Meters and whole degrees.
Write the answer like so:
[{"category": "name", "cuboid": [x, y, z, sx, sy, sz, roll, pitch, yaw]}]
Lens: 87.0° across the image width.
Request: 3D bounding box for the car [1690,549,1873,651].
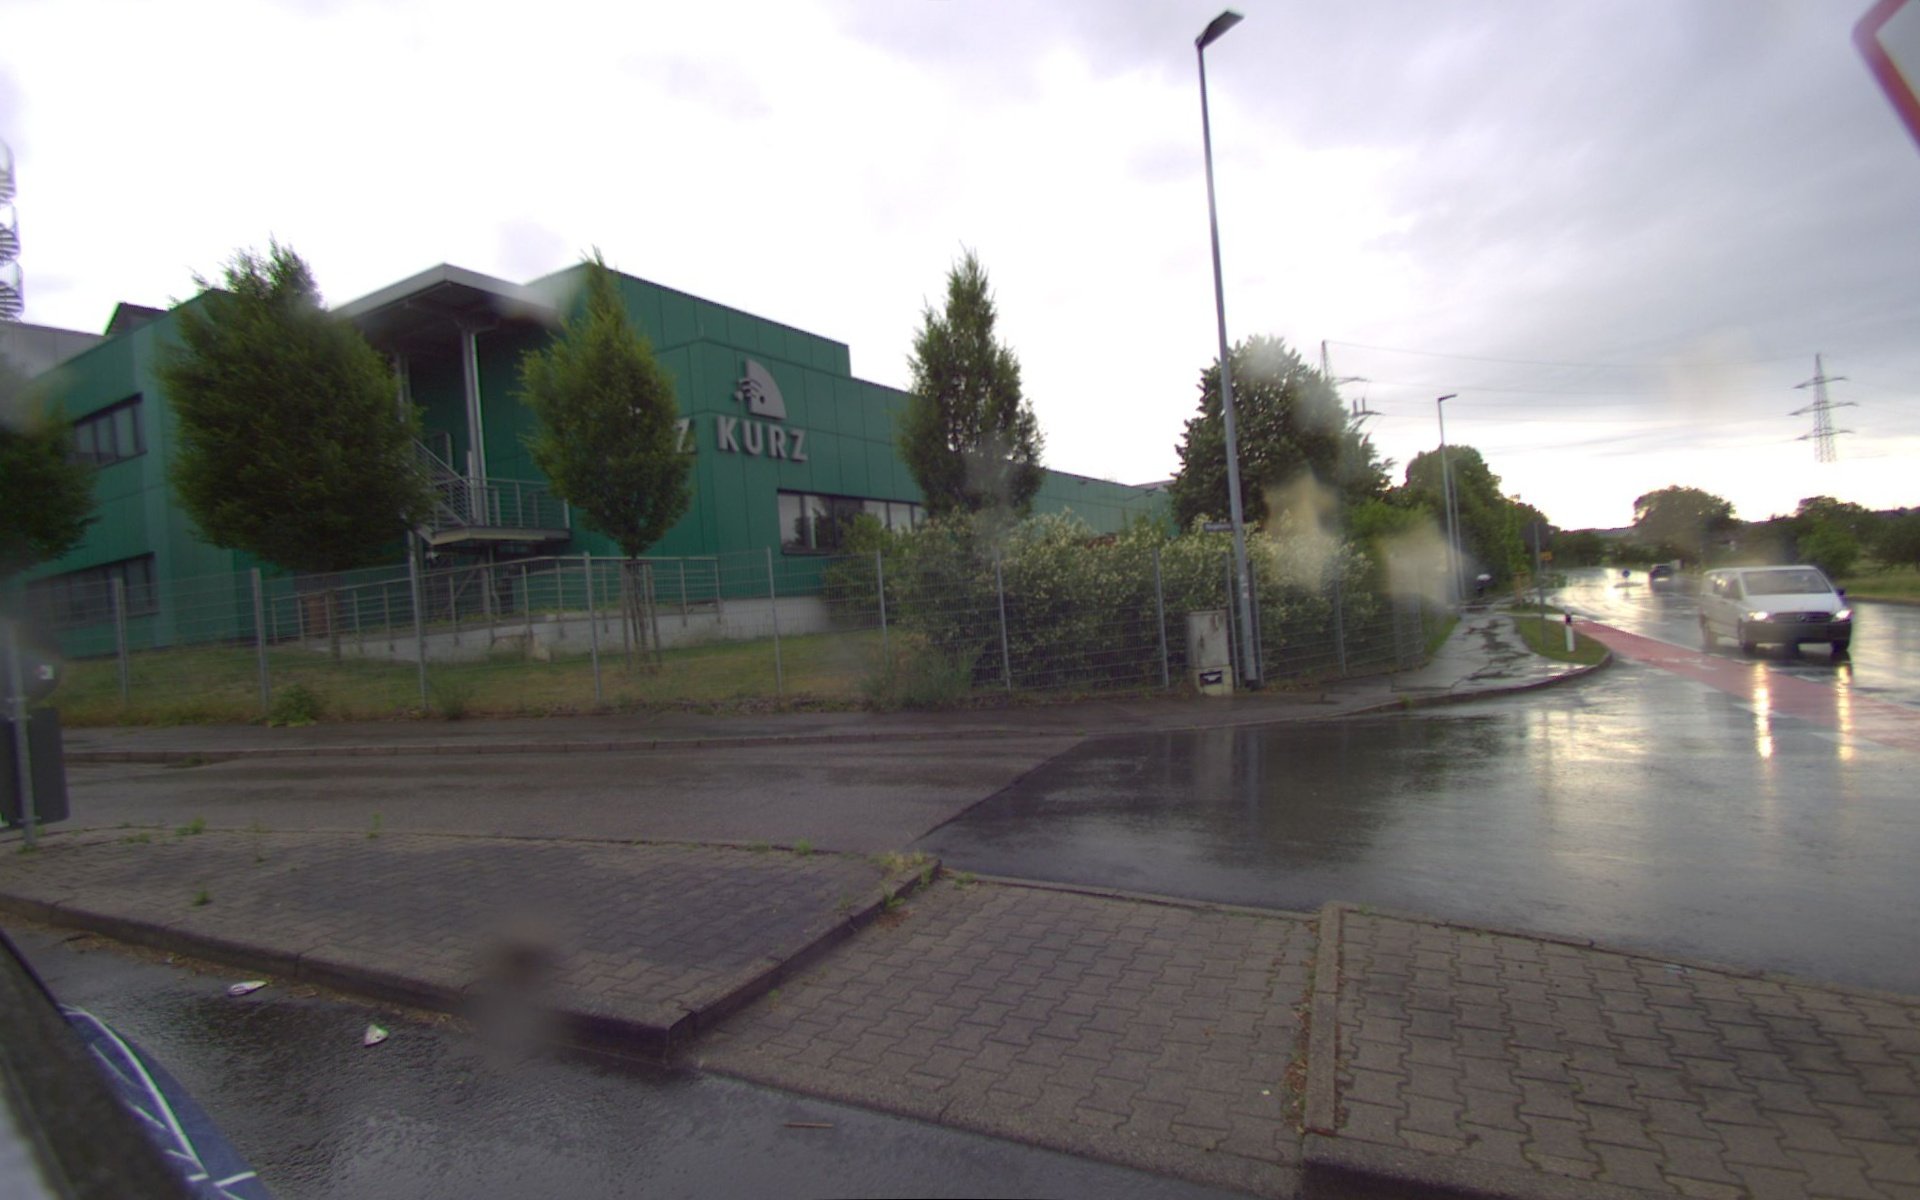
[{"category": "car", "cuboid": [18.836, 0.025, 23.518, 1.894, 2.033, 5.328, -3, -1, 24]}]
